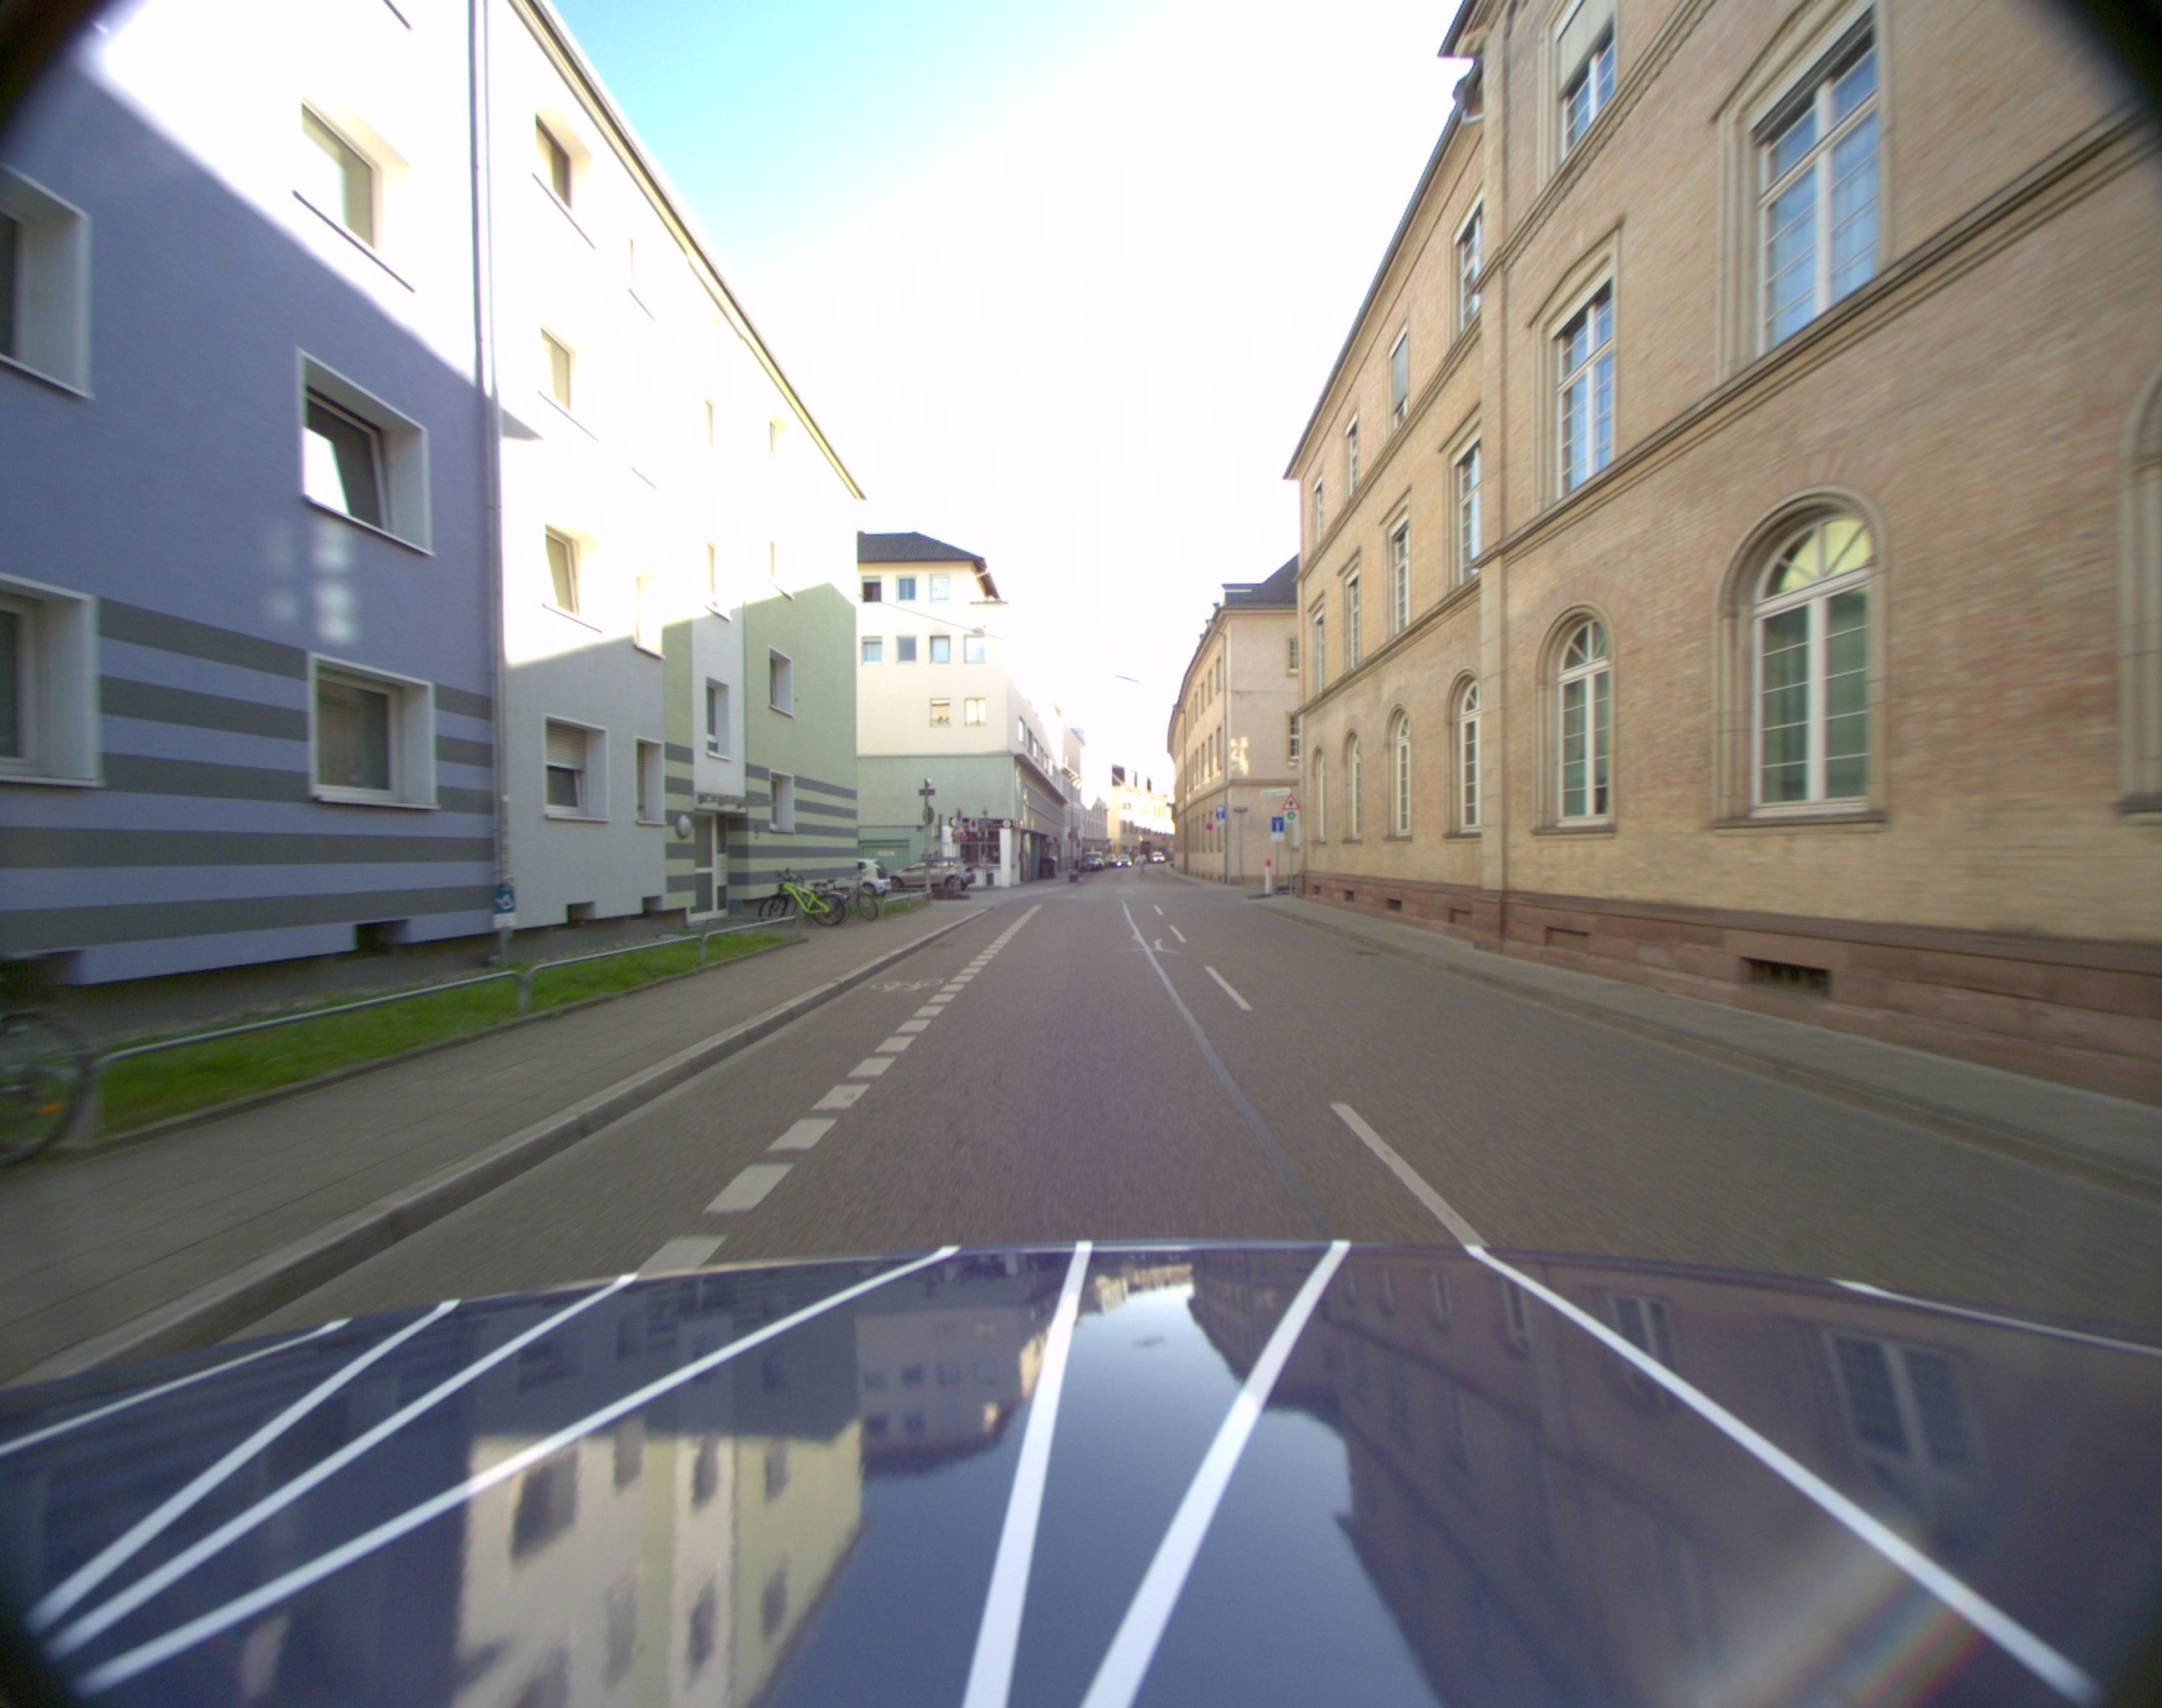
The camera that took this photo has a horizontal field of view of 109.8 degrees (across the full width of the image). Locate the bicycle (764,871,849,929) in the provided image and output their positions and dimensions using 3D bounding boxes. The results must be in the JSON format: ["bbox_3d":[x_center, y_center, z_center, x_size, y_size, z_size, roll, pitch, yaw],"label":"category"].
[{"bbox_3d":[-5.711,0.951,15.863,1.607,1.135,0.237,3,0,-7],"label":"bicycle"}]

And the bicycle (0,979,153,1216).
[{"bbox_3d":[-5.633,1.112,3.617,1.752,0.941,0.552,0,1,1],"label":"bicycle"}]

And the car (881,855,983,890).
[{"bbox_3d":[-6.485,0.784,33.394,4.088,1.473,1.865,0,1,1],"label":"car"}]

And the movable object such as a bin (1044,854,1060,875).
[{"bbox_3d":[-1.973,0.718,51.630,0.983,1.377,1.320,1,3,3],"label":"movable object such as a bin"}]

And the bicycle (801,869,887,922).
[{"bbox_3d":[-5.455,0.949,17.548,1.752,1.135,0.552,3,0,1],"label":"bicycle"}]

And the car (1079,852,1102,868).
[{"bbox_3d":[0.896,0.537,70.950,1.887,1.480,4.369,-1,0,4],"label":"car"}]

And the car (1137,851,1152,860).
[{"bbox_3d":[10.350,0.227,123.491,1.733,1.539,4.004,-1,0,13],"label":"car"}]

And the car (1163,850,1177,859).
[{"bbox_3d":[16.938,0.103,144.671,1.773,1.574,3.861,-5,-1,19],"label":"car"}]

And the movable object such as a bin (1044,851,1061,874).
[{"bbox_3d":[-1.995,0.597,53.267,0.983,1.472,1.551,1,3,3],"label":"movable object such as a bin"}]

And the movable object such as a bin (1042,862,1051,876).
[{"bbox_3d":[-2.291,1.018,50.714,0.558,0.894,0.523,1,3,3],"label":"movable object such as a bin"}]

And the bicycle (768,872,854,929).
[{"bbox_3d":[-5.720,0.994,16.140,1.646,1.135,0.283,3,0,-7],"label":"bicycle"}]

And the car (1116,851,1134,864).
[{"bbox_3d":[5.855,0.455,100.083,1.828,1.550,3.989,-2,0,10],"label":"car"}]

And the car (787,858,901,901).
[{"bbox_3d":[-8.545,0.897,27.599,3.553,1.473,1.709,0,1,2],"label":"car"}]

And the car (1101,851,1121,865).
[{"bbox_3d":[3.694,0.451,93.137,1.828,1.645,4.497,-1,0,10],"label":"car"}]

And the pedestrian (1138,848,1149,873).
[{"bbox_3d":[4.328,0.450,52.774,0.694,1.660,0.875,-2,1,5],"label":"pedestrian"}]

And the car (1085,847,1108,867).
[{"bbox_3d":[1.622,0.283,77.367,1.887,1.871,4.847,-1,0,6],"label":"car"}]
